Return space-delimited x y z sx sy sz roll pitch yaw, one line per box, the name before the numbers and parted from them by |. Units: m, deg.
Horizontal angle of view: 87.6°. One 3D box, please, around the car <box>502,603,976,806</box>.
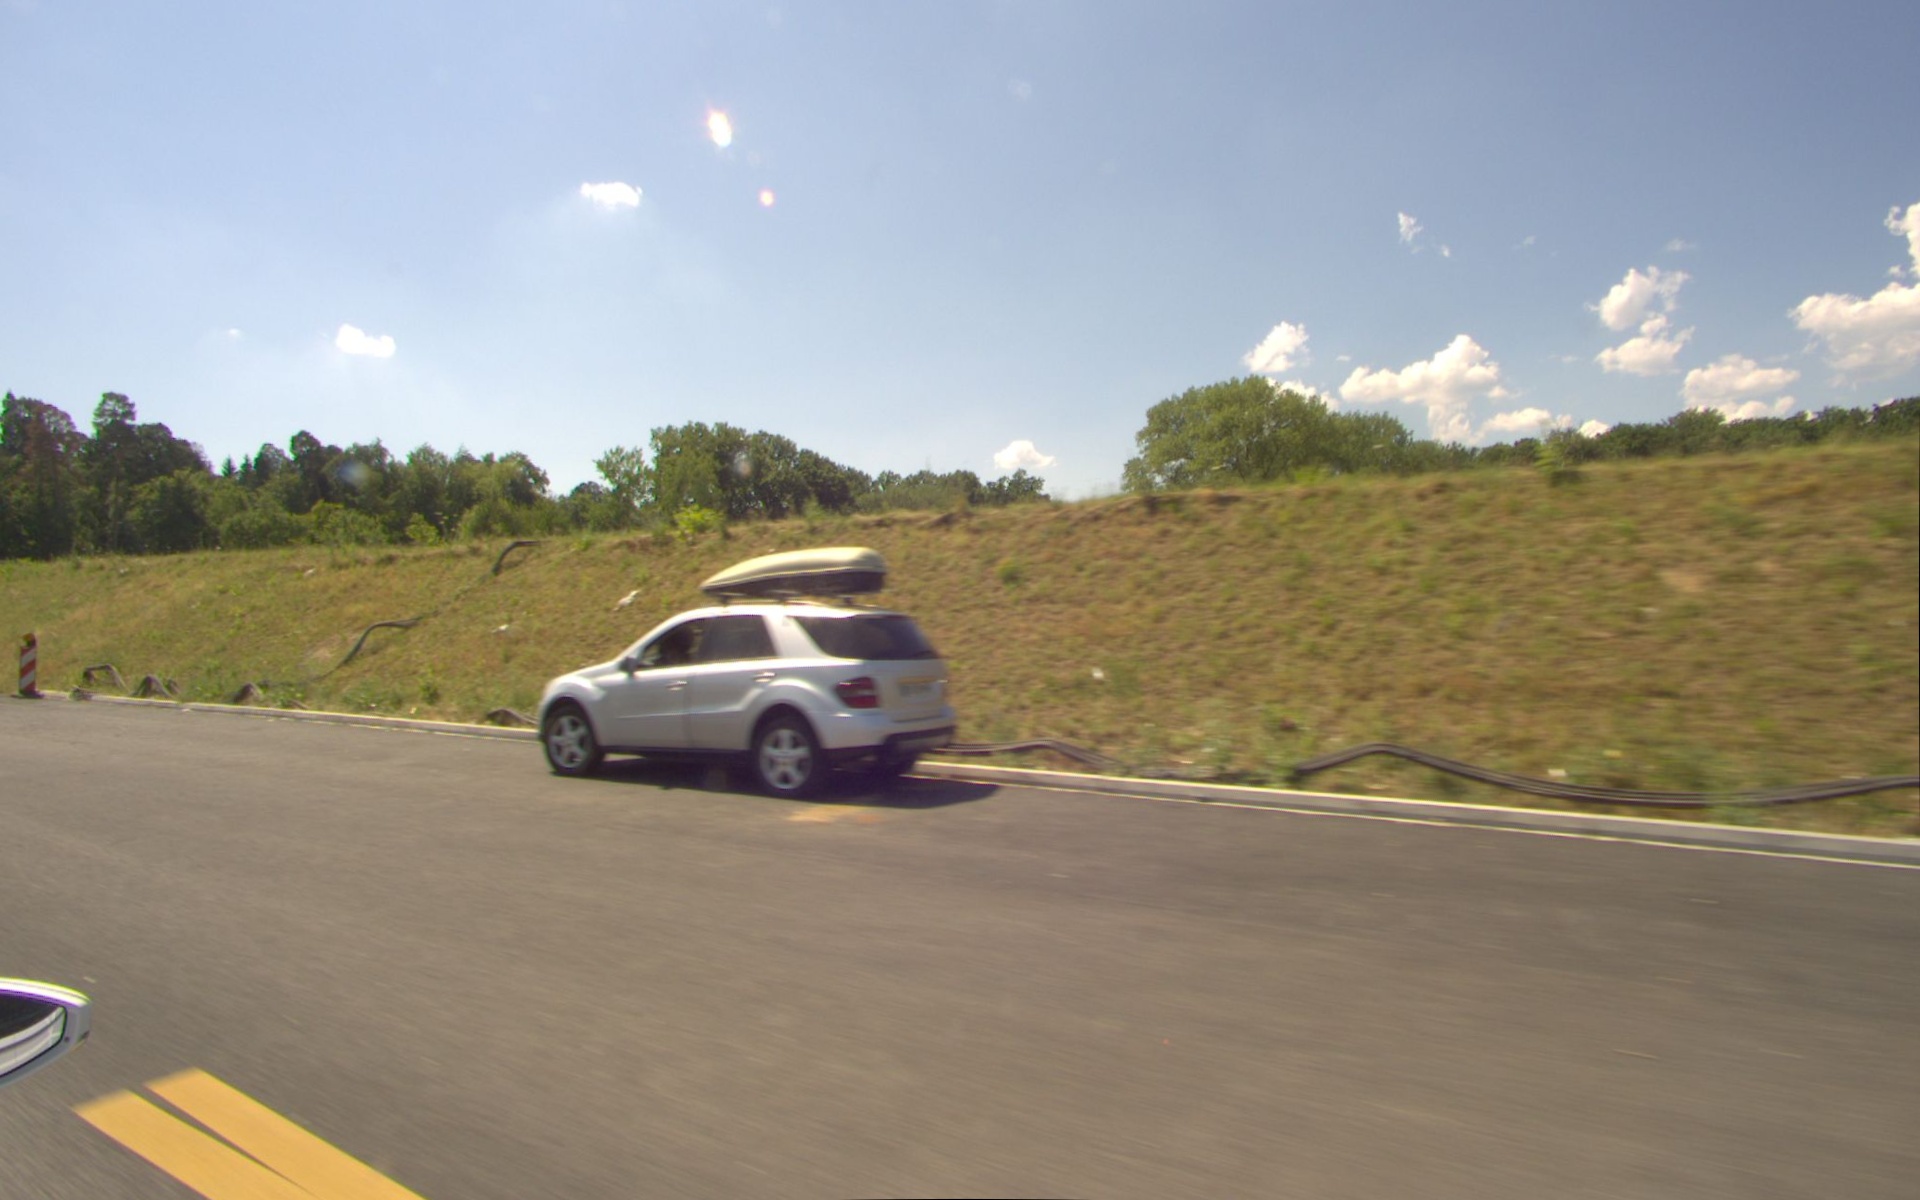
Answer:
car | -2.366 0.920 10.345 4.780 1.698 1.774 0 -2 29
